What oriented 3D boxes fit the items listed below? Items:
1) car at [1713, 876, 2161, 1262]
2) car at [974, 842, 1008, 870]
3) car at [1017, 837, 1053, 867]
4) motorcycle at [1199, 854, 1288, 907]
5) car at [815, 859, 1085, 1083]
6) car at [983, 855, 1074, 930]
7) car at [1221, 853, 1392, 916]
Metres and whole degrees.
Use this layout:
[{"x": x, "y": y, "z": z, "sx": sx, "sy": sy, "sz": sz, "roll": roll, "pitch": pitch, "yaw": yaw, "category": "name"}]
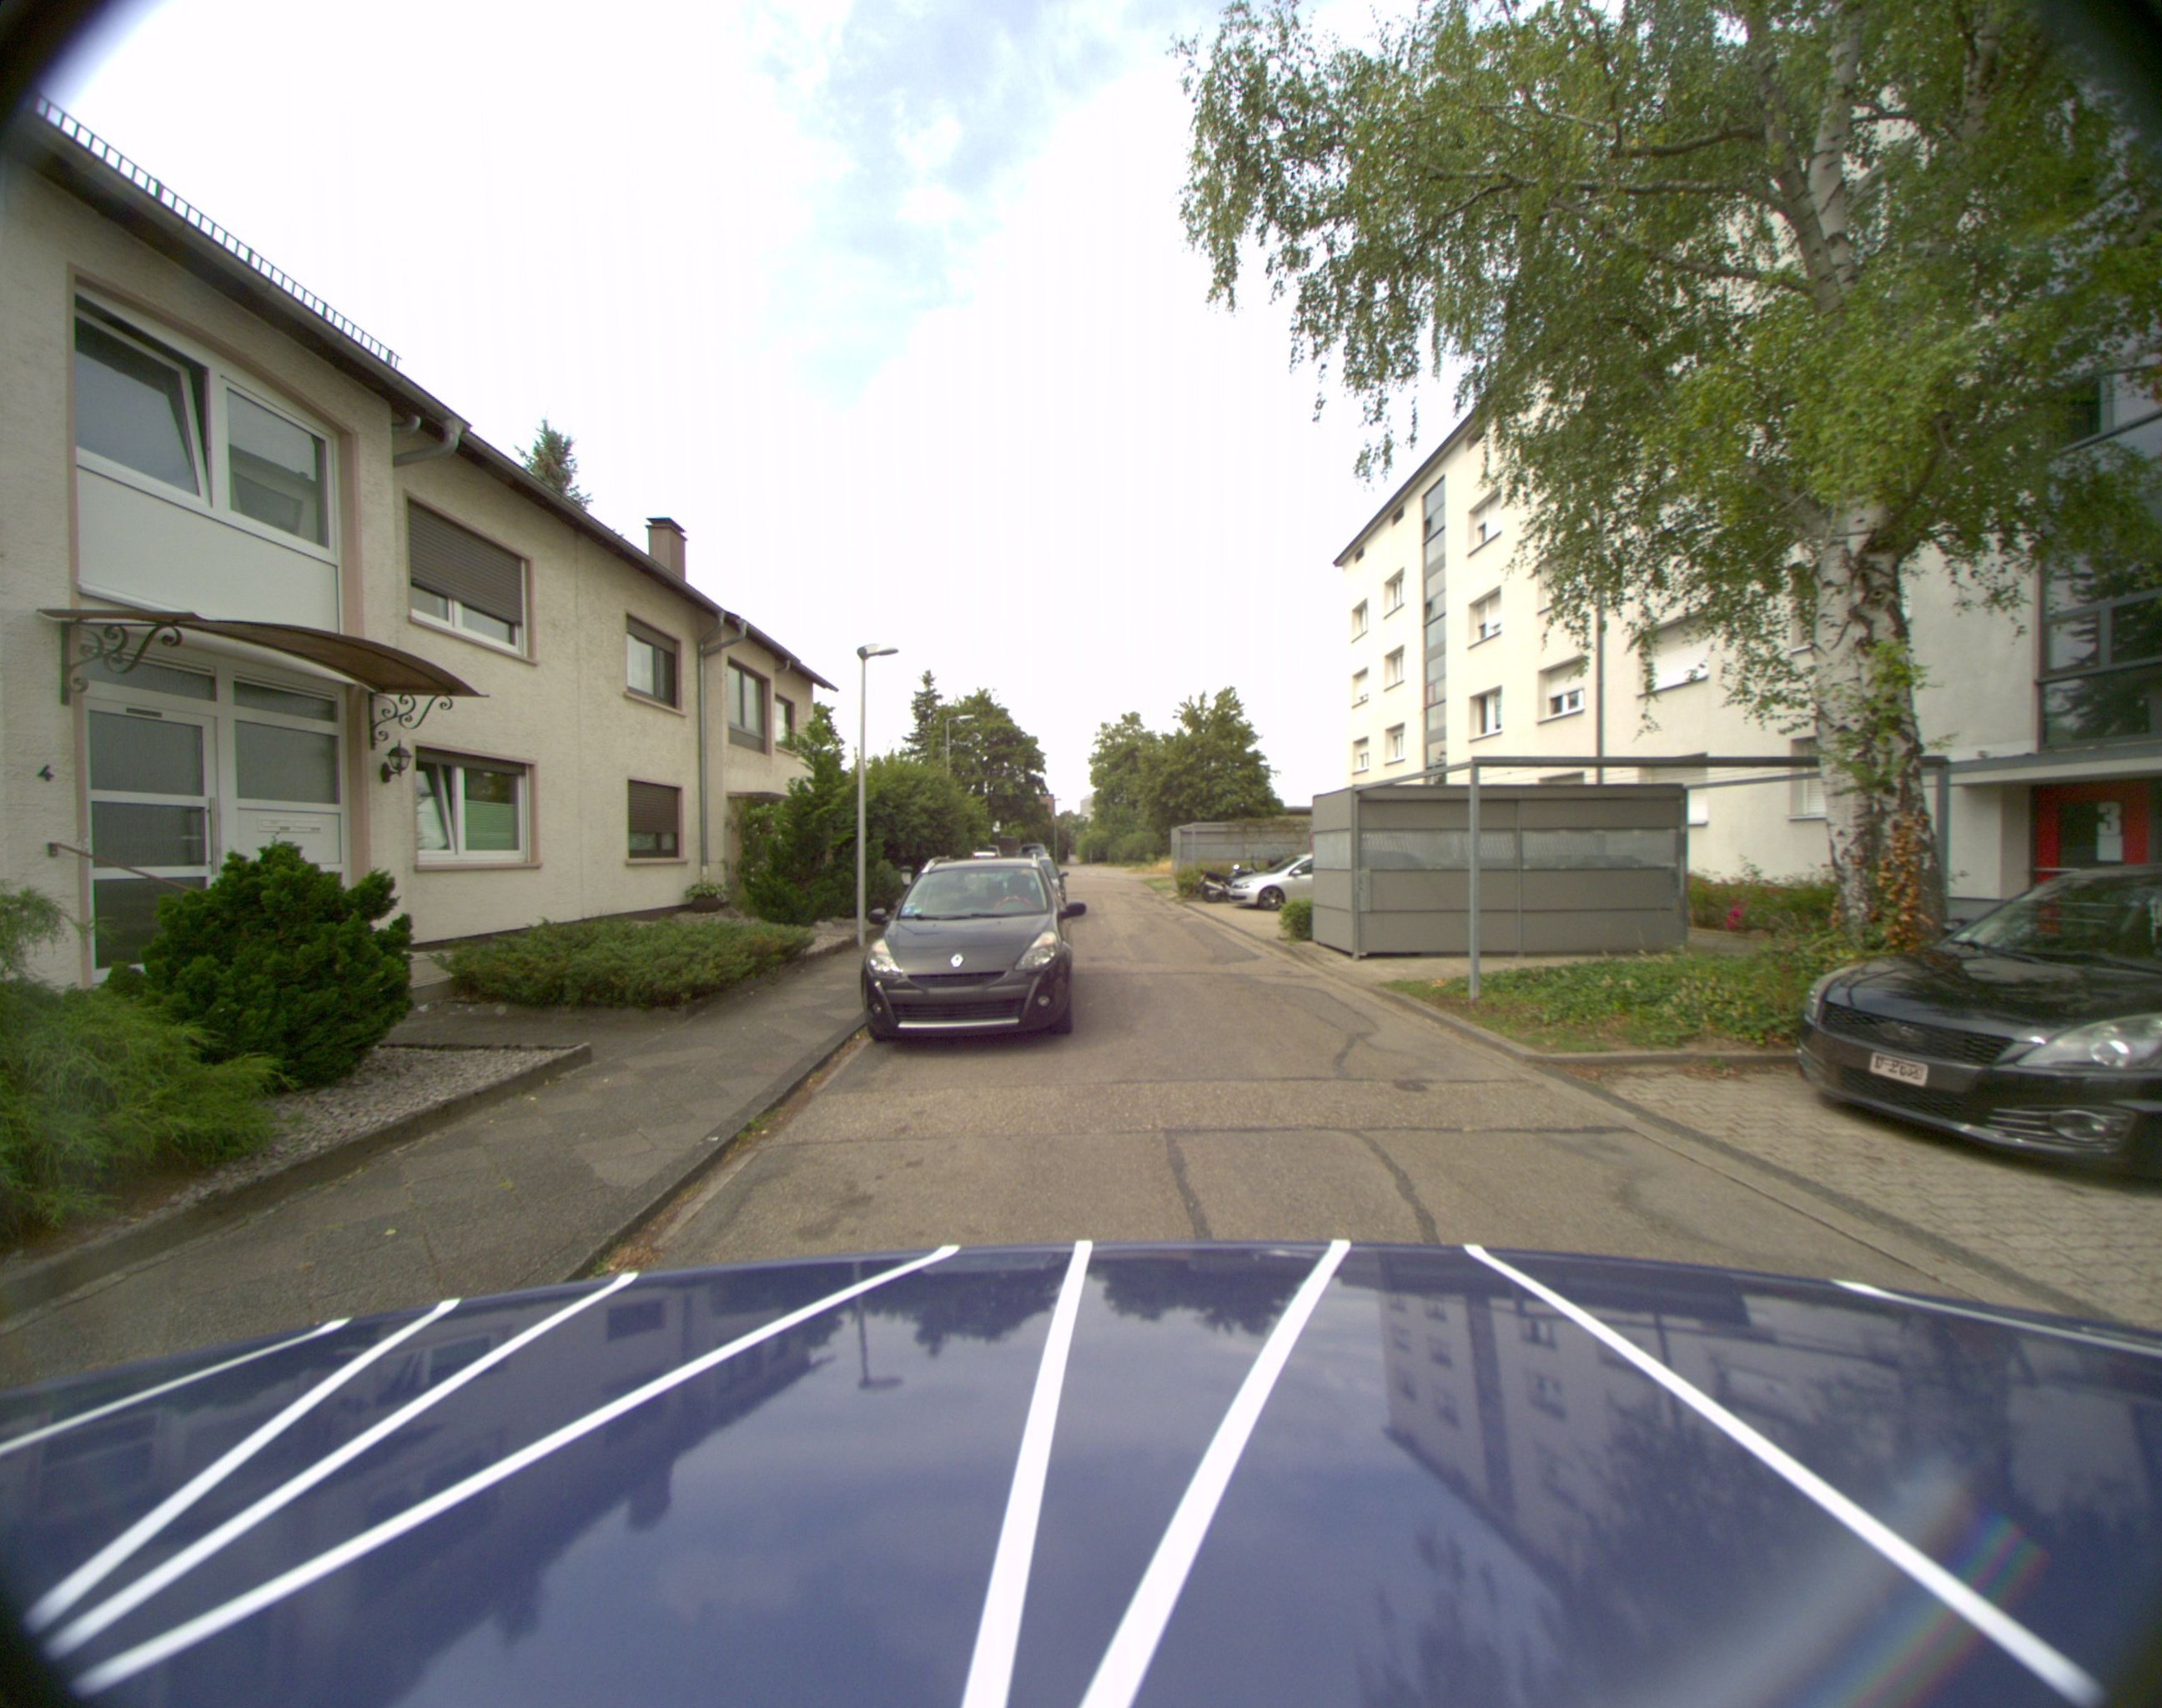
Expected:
[{"x": 6.097, "y": 0.906, "z": 4.002, "sx": 4.062, "sy": 1.496, "sz": 1.781, "roll": 0, "pitch": 1, "yaw": -1, "category": "car"}, {"x": -5.123, "y": 0.057, "z": 43.758, "sx": 1.705, "sy": 1.458, "sz": 3.997, "roll": 0, "pitch": 2, "yaw": -3, "category": "car"}, {"x": -2.601, "y": -0.144, "z": 43.174, "sx": 1.926, "sy": 1.576, "sz": 3.998, "roll": -2, "pitch": 1, "yaw": -3, "category": "car"}, {"x": 4.677, "y": 0.758, "z": 22.024, "sx": 2.383, "sy": 1.456, "sz": 0.714, "roll": 1, "pitch": 1, "yaw": -1, "category": "motorcycle"}, {"x": -1.013, "y": 0.830, "z": 7.416, "sx": 1.834, "sy": 1.449, "sz": 4.188, "roll": -2, "pitch": 1, "yaw": -3, "category": "car"}, {"x": -1.174, "y": 0.785, "z": 17.692, "sx": 1.834, "sy": 1.449, "sz": 4.188, "roll": -2, "pitch": 1, "yaw": -3, "category": "car"}, {"x": 5.926, "y": 0.787, "z": 20.371, "sx": 3.997, "sy": 1.477, "sz": 1.902, "roll": 2, "pitch": 1, "yaw": 1, "category": "car"}]
